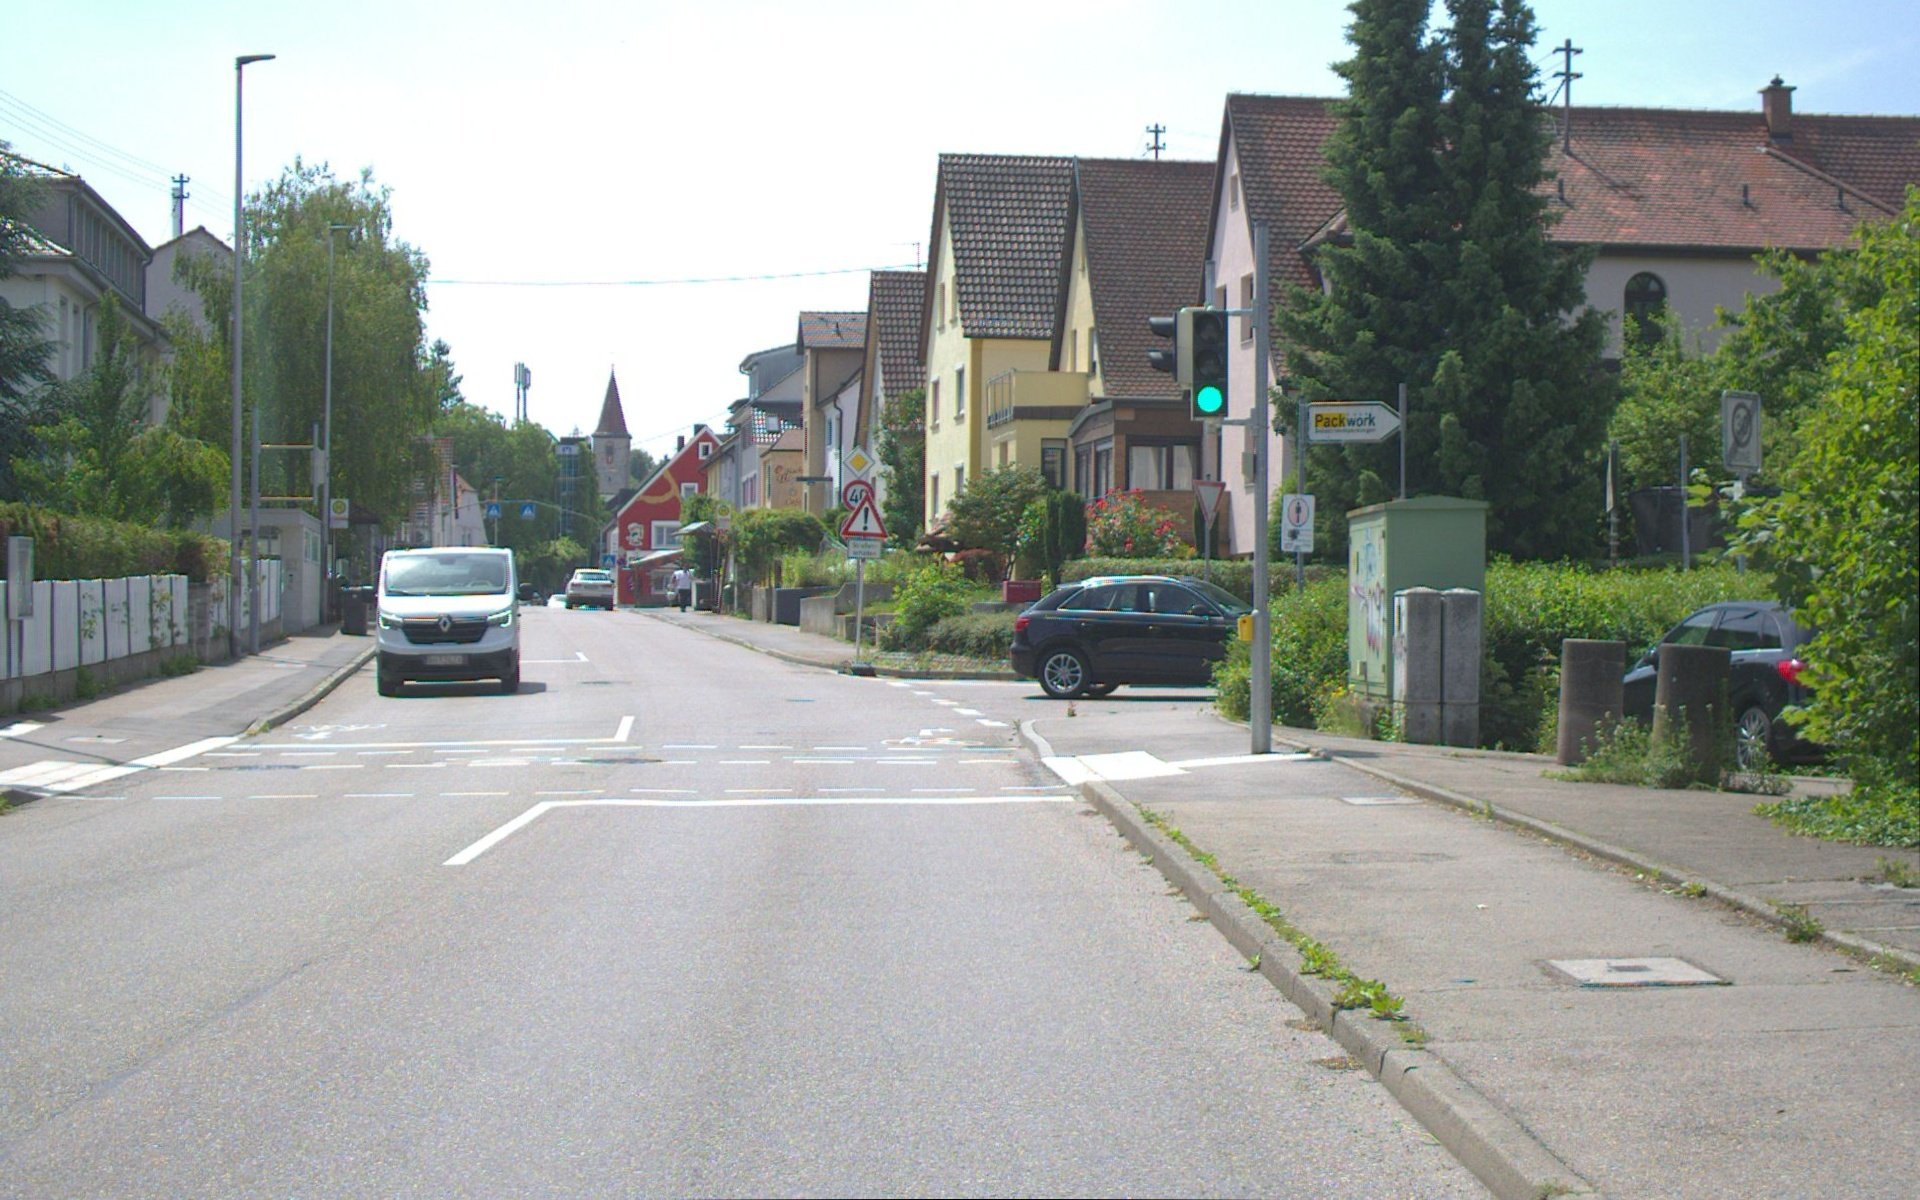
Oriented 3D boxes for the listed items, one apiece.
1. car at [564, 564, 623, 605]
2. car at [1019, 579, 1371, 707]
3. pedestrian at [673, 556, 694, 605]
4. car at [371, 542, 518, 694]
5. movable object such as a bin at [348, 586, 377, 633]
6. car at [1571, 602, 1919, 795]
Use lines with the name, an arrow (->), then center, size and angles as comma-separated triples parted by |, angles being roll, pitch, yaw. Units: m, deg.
car -> -14.516, -0.625, 136.075 | 1.993, 1.555, 4.315 | 0, 1, -11
car -> 3.046, 0.527, 44.446 | 4.294, 1.536, 1.538 | 1, 1, 17
pedestrian -> -9.918, -0.707, 123.352 | 0.646, 1.724, 0.608 | -2, 1, -8
car -> -7.056, 0.199, 47.256 | 1.879, 1.958, 4.904 | -1, 1, -8
movable object such as a bin -> -13.616, 0.216, 78.388 | 0.607, 1.042, 0.725 | 1, 2, -8
car -> 7.051, 0.873, 30.259 | 1.709, 1.546, 4.066 | 2, -2, -15
